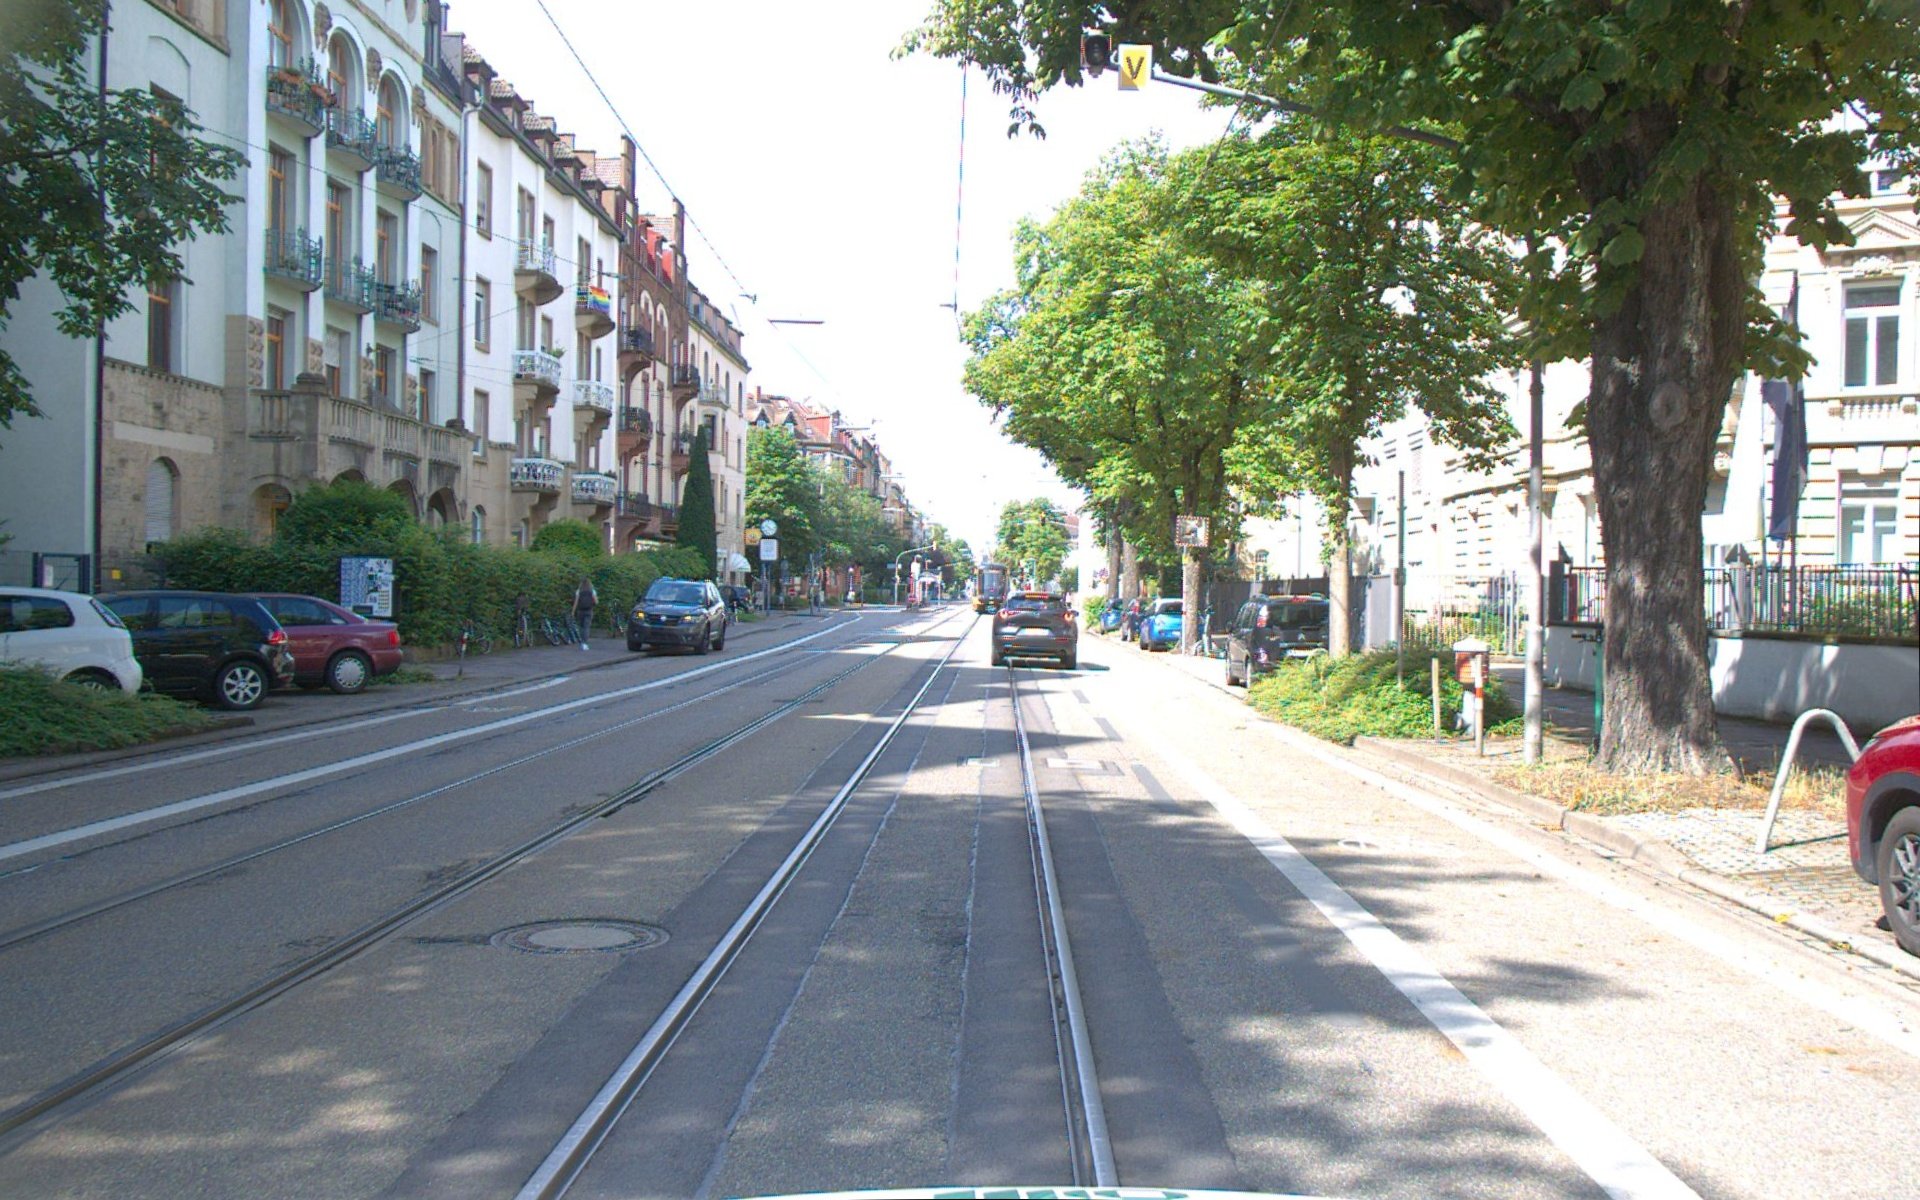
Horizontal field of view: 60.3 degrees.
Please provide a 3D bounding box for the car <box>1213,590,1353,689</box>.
[{"bbox_3d":[5.694,0.660,29.597,1.662,1.619,4.203,-1,0,0],"label":"car"}]

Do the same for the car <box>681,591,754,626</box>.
[{"bbox_3d":[-11.880,0.404,81.207,3.168,1.539,1.680,3,0,4],"label":"car"}]

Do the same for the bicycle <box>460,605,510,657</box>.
[{"bbox_3d":[-9.550,0.614,33.299,0.375,0.975,1.810,2,1,3],"label":"bicycle"}]

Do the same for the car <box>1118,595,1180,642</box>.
[{"bbox_3d":[6.389,0.615,56.238,1.606,1.522,3.757,-1,0,-1],"label":"car"}]

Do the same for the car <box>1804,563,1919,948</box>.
[{"bbox_3d":[5.186,0.683,6.167,1.838,1.705,4.281,-1,0,-1],"label":"car"}]

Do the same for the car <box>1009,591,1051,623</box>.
[{"bbox_3d":[3.429,0.326,81.326,1.749,1.518,4.882,1,0,-1],"label":"car"}]

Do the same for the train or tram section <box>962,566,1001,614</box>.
[{"bbox_3d":[1.622,-0.742,126.851,2.598,3.589,8.493,0,0,-2],"label":"train or tram section"}]

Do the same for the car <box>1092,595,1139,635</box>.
[{"bbox_3d":[6.246,0.594,66.689,1.590,1.522,3.848,-1,0,1],"label":"car"}]

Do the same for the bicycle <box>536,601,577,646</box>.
[{"bbox_3d":[-9.373,0.536,38.462,0.375,0.975,1.810,2,1,3],"label":"bicycle"}]

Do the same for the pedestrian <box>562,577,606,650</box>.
[{"bbox_3d":[-8.525,0.298,37.531,0.666,1.595,0.882,3,0,3],"label":"pedestrian"}]

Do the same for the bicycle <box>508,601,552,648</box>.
[{"bbox_3d":[-9.441,0.532,36.370,0.375,0.975,1.810,2,1,3],"label":"bicycle"}]

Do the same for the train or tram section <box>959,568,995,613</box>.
[{"bbox_3d":[1.370,-0.726,135.356,2.598,3.589,8.493,0,0,-2],"label":"train or tram section"}]

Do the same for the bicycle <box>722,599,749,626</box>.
[{"bbox_3d":[-8.611,0.475,63.541,0.500,0.976,1.816,4,-1,8],"label":"bicycle"}]

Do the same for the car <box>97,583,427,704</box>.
[{"bbox_3d":[-9.829,0.565,23.450,3.937,1.510,1.818,-2,0,-42],"label":"car"}]

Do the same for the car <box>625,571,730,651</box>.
[{"bbox_3d":[-6.721,0.234,39.773,1.749,1.793,4.882,1,0,-1],"label":"car"}]

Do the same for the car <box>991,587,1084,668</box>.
[{"bbox_3d":[1.601,0.540,35.347,1.753,1.538,4.351,2,1,0],"label":"car"}]

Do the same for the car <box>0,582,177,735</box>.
[{"bbox_3d":[-10.351,0.612,17.068,3.779,1.510,1.670,-2,0,-45],"label":"car"}]

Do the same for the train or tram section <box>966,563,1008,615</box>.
[{"bbox_3d":[1.866,-0.752,118.360,2.598,3.589,8.493,0,0,-2],"label":"train or tram section"}]

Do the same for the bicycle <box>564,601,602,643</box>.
[{"bbox_3d":[-9.242,0.517,40.598,0.375,0.975,1.922,2,1,3],"label":"bicycle"}]

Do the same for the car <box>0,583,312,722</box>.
[{"bbox_3d":[-10.136,0.593,20.278,3.769,1.510,1.674,-2,0,-39],"label":"car"}]

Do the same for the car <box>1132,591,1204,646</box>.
[{"bbox_3d":[6.017,0.503,48.233,1.606,1.522,3.627,-1,0,0],"label":"car"}]

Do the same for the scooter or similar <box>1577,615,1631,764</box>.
[{"bbox_3d":[5.856,0.790,15.018,0.334,1.259,1.258,-2,0,25],"label":"scooter or similar"}]

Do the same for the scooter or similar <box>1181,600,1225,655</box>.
[{"bbox_3d":[6.087,0.668,41.392,0.436,1.322,1.171,-3,2,-29],"label":"scooter or similar"}]
